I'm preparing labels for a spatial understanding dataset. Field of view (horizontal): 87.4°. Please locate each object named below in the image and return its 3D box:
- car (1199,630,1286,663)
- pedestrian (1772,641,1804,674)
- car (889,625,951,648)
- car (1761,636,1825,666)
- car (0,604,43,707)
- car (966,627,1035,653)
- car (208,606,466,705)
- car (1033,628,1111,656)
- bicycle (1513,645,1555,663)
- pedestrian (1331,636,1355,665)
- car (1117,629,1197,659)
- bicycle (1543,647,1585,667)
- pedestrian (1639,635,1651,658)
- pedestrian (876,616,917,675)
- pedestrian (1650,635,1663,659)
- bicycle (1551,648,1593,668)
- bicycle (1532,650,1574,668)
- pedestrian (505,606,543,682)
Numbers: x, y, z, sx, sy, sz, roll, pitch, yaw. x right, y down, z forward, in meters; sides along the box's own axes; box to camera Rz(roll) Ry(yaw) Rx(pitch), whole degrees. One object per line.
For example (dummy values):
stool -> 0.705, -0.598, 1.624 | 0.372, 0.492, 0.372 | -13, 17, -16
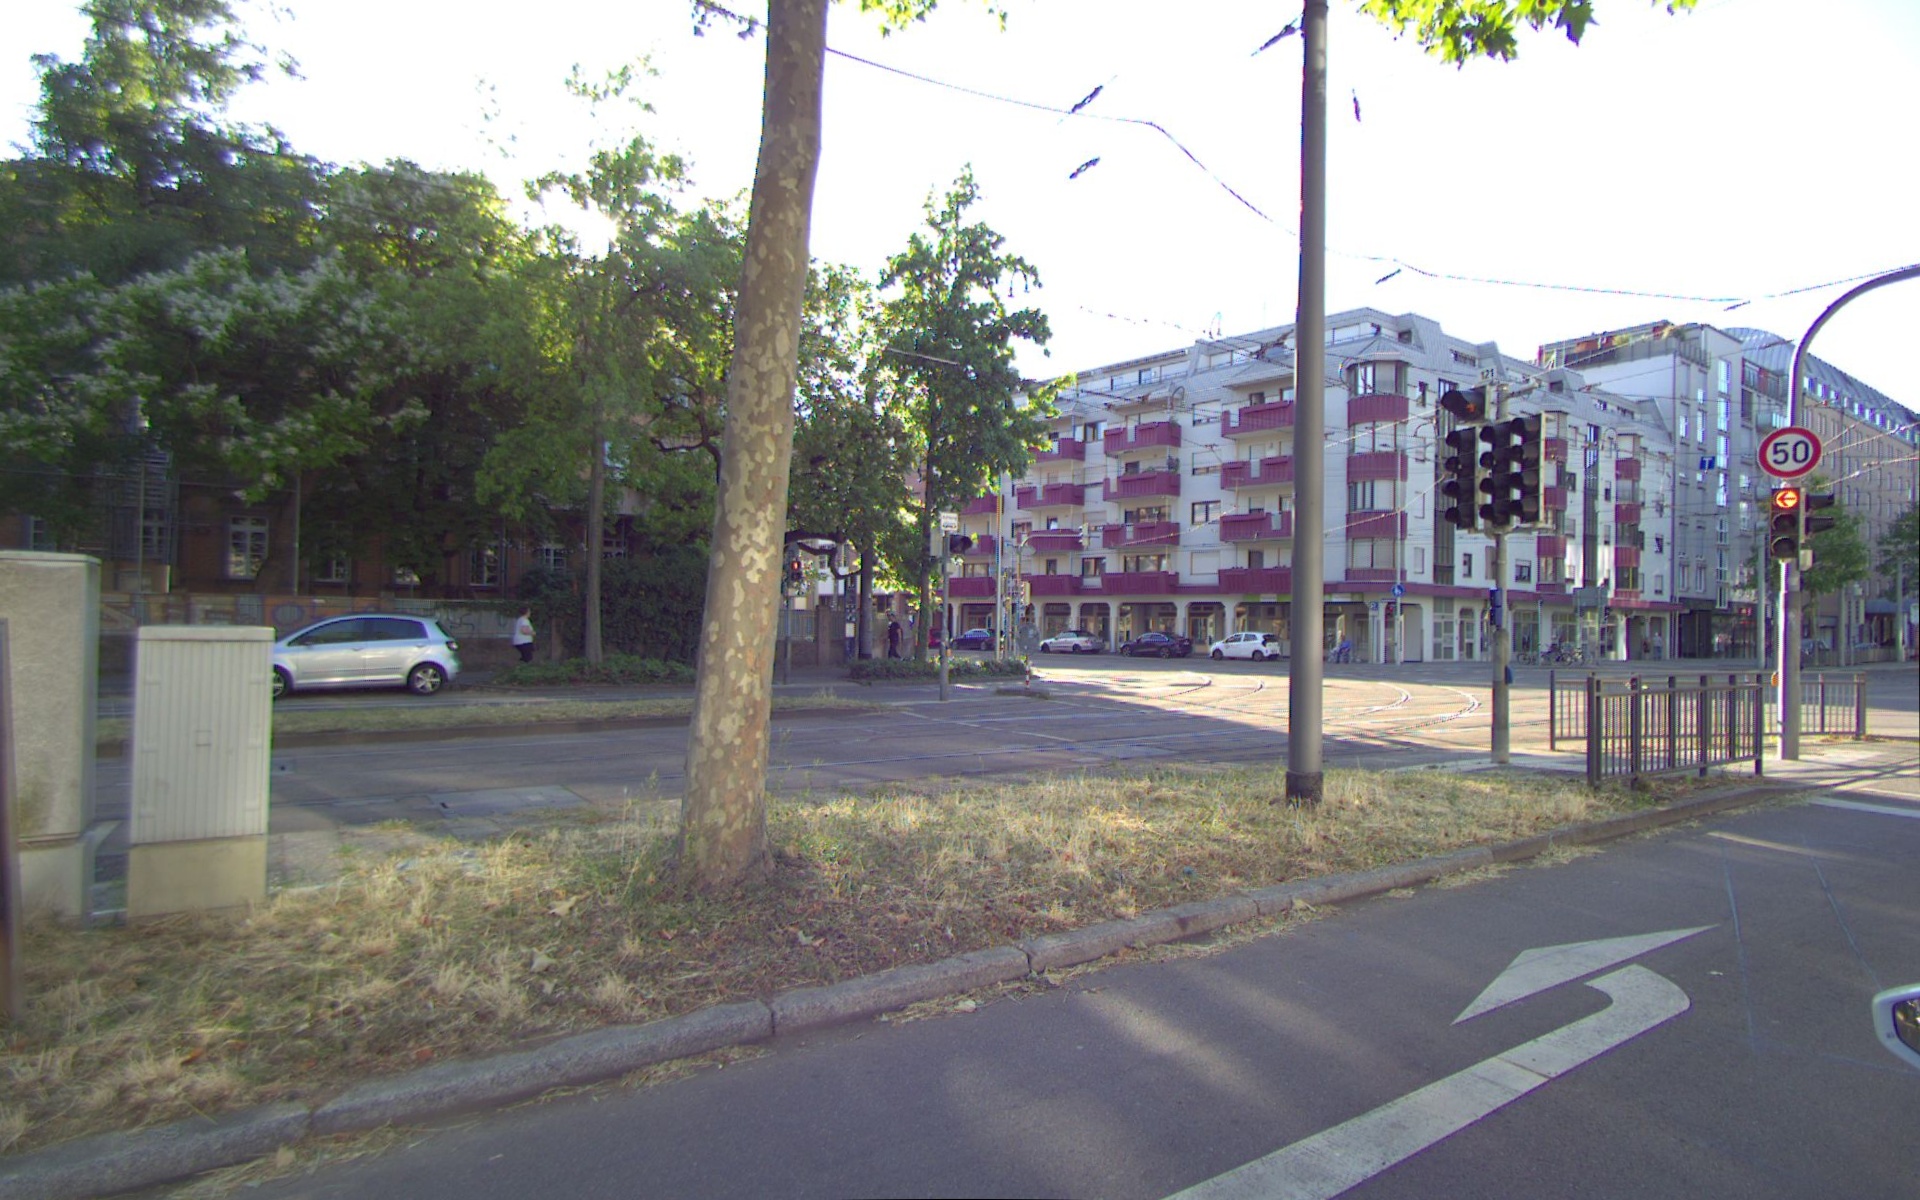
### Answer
car -> 14.791, 2.419, 52.683 | 1.986, 1.576, 3.950 | 2, -2, -42
pedestrian -> 39.859, 2.773, 48.358 | 0.687, 1.564, 1.039 | 2, -1, -33
car -> -2.894, 2.626, 72.140 | 1.986, 1.576, 4.527 | 2, -2, -42
car -> 49.612, 3.014, 59.818 | 4.219, 1.695, 1.942 | 2, -1, -36
car -> -17.176, 0.824, 15.379 | 4.418, 1.522, 2.065 | 2, 1, -38
car -> 2.632, 2.604, 66.163 | 1.986, 1.576, 4.527 | 2, -2, -42
car -> -12.088, 1.034, 19.564 | 4.062, 1.641, 2.065 | 2, 1, -38
car -> 6.795, 2.546, 61.120 | 1.986, 1.576, 4.527 | 2, -2, -42
bicycle -> 29.392, 2.755, 51.436 | 0.547, 0.865, 1.833 | 2, -2, -32
pedestrian -> 18.997, 2.489, 49.793 | 0.831, 1.402, 0.848 | 2, -2, -45
car -> 11.064, 2.471, 56.530 | 1.986, 1.576, 4.072 | 2, -2, -42
bicycle -> 31.320, 2.957, 52.105 | 0.548, 0.998, 1.830 | 2, -2, -36
pedestrian -> 44.851, 3.060, 65.789 | 0.582, 1.514, 0.530 | 2, -1, -38
pedestrian -> -1.959, 1.403, 31.143 | 1.010, 1.775, 0.728 | 2, -1, -37
pedestrian -> 45.265, 3.070, 65.291 | 0.582, 1.514, 0.530 | 2, -1, -38
bicycle -> 31.875, 3.013, 52.354 | 0.548, 0.998, 1.830 | 2, -2, -36
bicycle -> 30.305, 3.017, 51.350 | 0.547, 0.865, 1.833 | 2, -2, -32
pedestrian -> -9.945, 1.004, 22.916 | 0.626, 1.687, 0.563 | 2, 1, -37
